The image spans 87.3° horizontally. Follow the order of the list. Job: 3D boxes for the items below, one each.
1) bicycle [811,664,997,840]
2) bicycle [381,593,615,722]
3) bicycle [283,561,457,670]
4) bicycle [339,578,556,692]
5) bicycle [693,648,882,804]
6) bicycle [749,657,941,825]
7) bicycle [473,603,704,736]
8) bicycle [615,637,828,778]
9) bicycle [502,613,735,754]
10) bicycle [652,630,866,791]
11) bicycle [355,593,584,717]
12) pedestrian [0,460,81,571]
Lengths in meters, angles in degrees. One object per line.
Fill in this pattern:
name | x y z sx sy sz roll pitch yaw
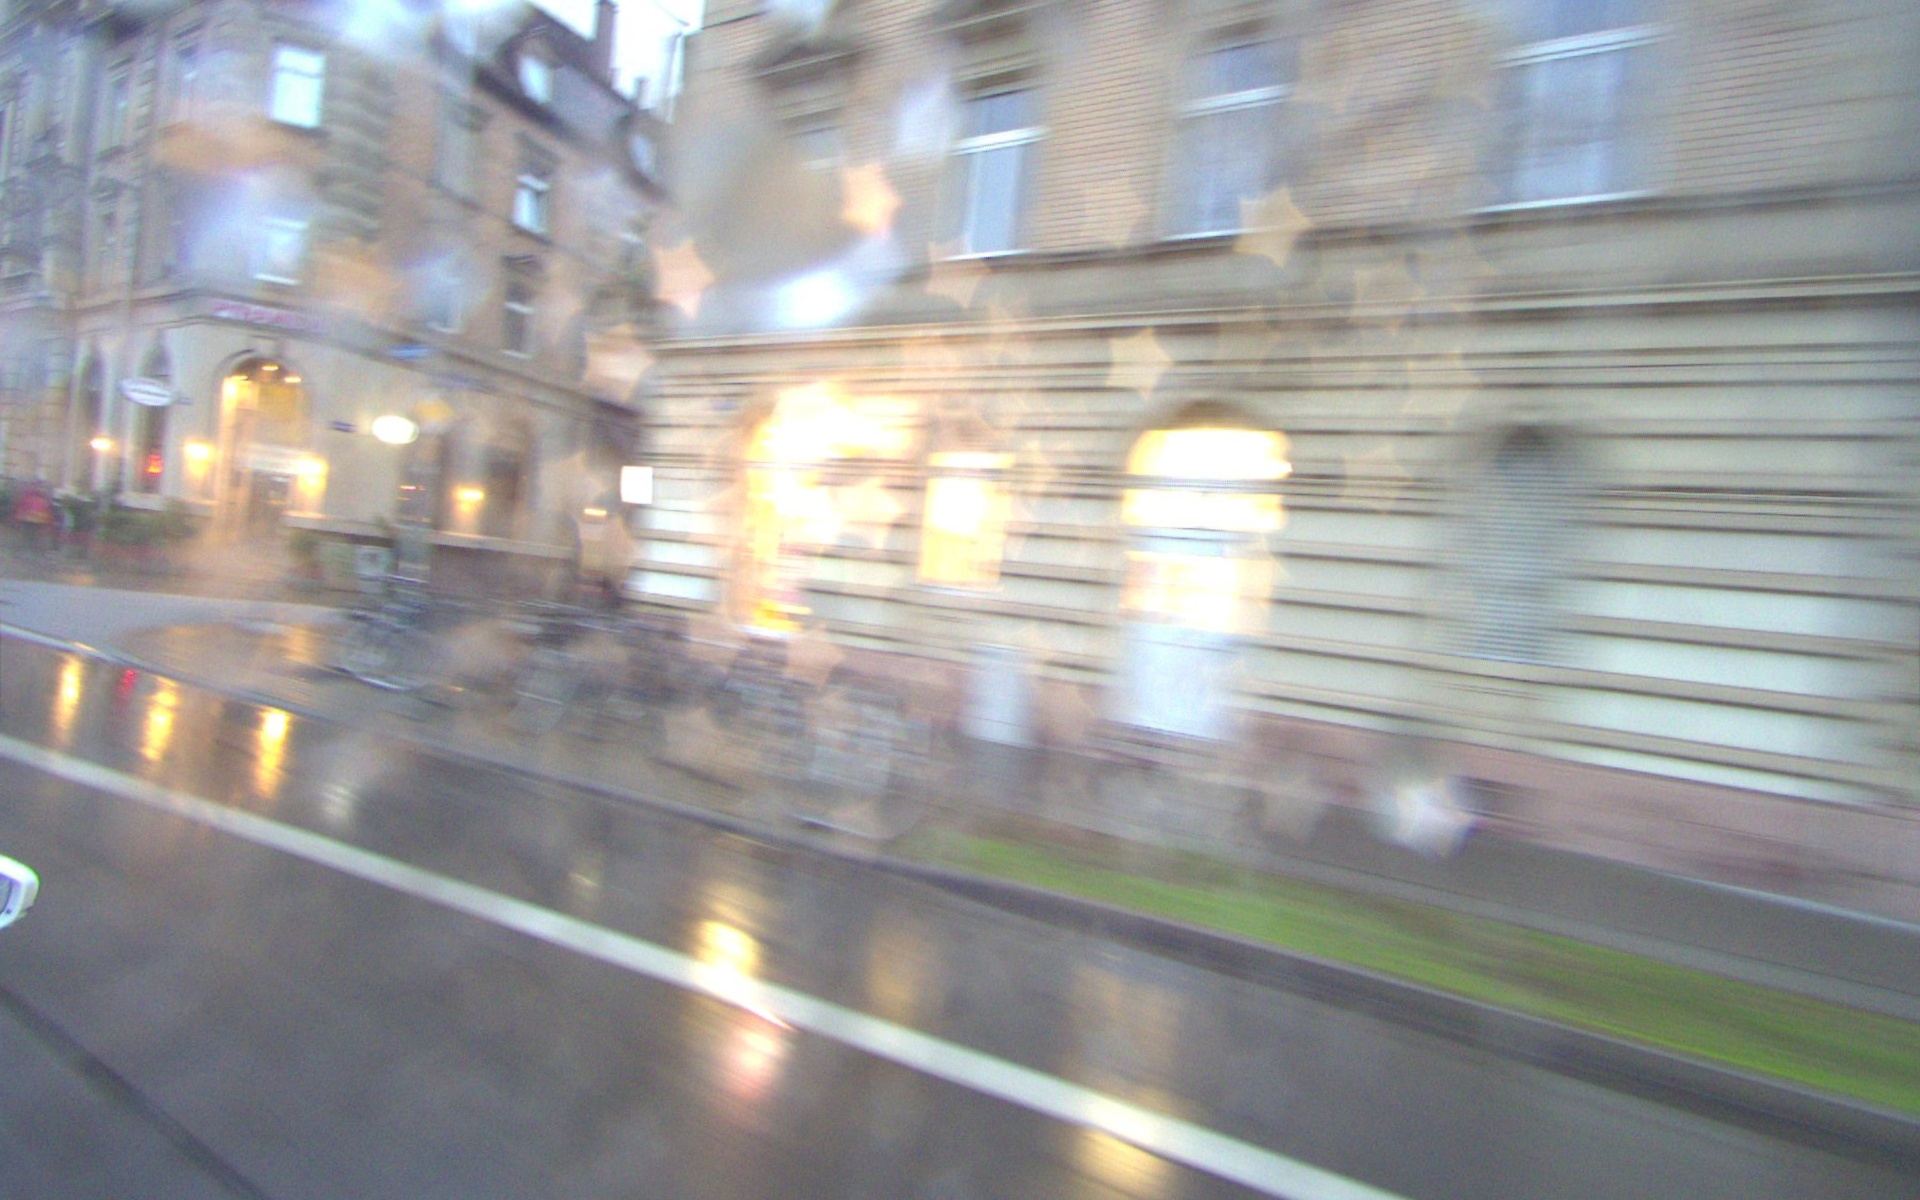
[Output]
bicycle | -0.345 1.031 7.280 0.365 1.068 1.731 7 1 30
bicycle | -4.366 0.517 9.702 0.418 1.069 2.144 8 3 30
bicycle | -6.512 0.156 11.248 0.469 1.065 2.094 6 1 5
bicycle | -5.388 0.381 10.743 0.470 1.065 2.089 7 1 30
bicycle | -1.302 0.931 7.941 0.365 1.068 1.731 7 1 30
bicycle | -0.794 0.980 7.486 0.365 1.068 1.731 7 1 30
bicycle | -3.384 0.624 9.408 0.476 1.068 2.146 7 1 30
bicycle | -1.931 0.840 8.485 0.418 0.984 2.008 7 3 30
bicycle | -2.954 0.690 8.973 0.418 1.069 2.145 8 3 30
bicycle | -1.564 0.827 8.213 0.418 1.110 2.008 7 3 30
bicycle | -4.776 0.503 9.961 0.470 1.066 2.088 7 3 30
pedestrian | -18.399 -1.664 20.001 0.901 2.039 0.855 7 1 2
